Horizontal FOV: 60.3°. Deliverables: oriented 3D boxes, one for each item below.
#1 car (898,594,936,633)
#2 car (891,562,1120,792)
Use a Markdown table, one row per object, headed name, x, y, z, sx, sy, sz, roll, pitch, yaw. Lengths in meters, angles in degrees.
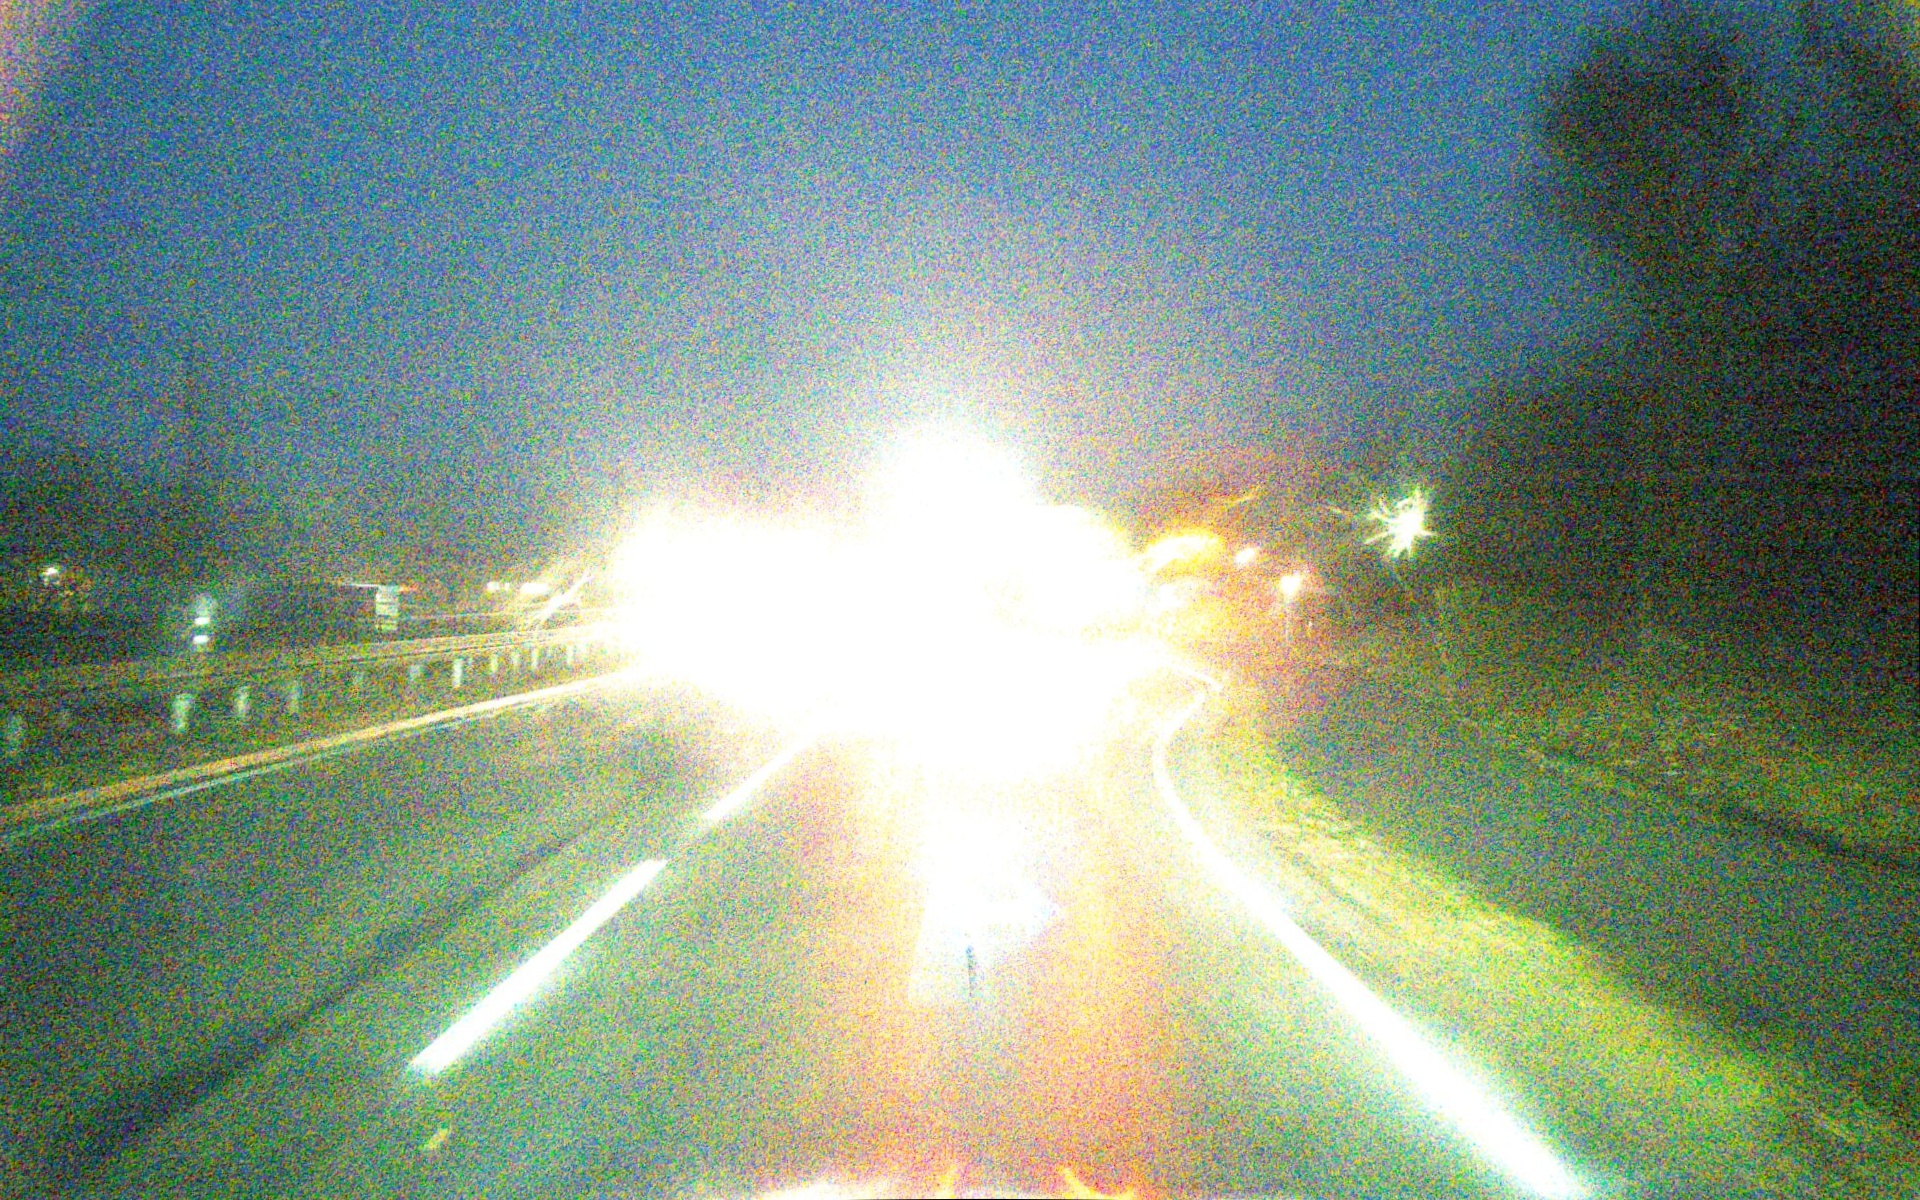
| name | x | y | z | sx | sy | sz | roll | pitch | yaw |
| --- | --- | --- | --- | --- | --- | --- | --- | --- | --- |
| car | -2.419 | 0.761 | 92.337 | 1.954 | 2.049 | 3.996 | 0 | -3 | -4 |
| car | 0.333 | 0.608 | 14.761 | 1.739 | 1.742 | 3.999 | 1 | 0 | -1 |
